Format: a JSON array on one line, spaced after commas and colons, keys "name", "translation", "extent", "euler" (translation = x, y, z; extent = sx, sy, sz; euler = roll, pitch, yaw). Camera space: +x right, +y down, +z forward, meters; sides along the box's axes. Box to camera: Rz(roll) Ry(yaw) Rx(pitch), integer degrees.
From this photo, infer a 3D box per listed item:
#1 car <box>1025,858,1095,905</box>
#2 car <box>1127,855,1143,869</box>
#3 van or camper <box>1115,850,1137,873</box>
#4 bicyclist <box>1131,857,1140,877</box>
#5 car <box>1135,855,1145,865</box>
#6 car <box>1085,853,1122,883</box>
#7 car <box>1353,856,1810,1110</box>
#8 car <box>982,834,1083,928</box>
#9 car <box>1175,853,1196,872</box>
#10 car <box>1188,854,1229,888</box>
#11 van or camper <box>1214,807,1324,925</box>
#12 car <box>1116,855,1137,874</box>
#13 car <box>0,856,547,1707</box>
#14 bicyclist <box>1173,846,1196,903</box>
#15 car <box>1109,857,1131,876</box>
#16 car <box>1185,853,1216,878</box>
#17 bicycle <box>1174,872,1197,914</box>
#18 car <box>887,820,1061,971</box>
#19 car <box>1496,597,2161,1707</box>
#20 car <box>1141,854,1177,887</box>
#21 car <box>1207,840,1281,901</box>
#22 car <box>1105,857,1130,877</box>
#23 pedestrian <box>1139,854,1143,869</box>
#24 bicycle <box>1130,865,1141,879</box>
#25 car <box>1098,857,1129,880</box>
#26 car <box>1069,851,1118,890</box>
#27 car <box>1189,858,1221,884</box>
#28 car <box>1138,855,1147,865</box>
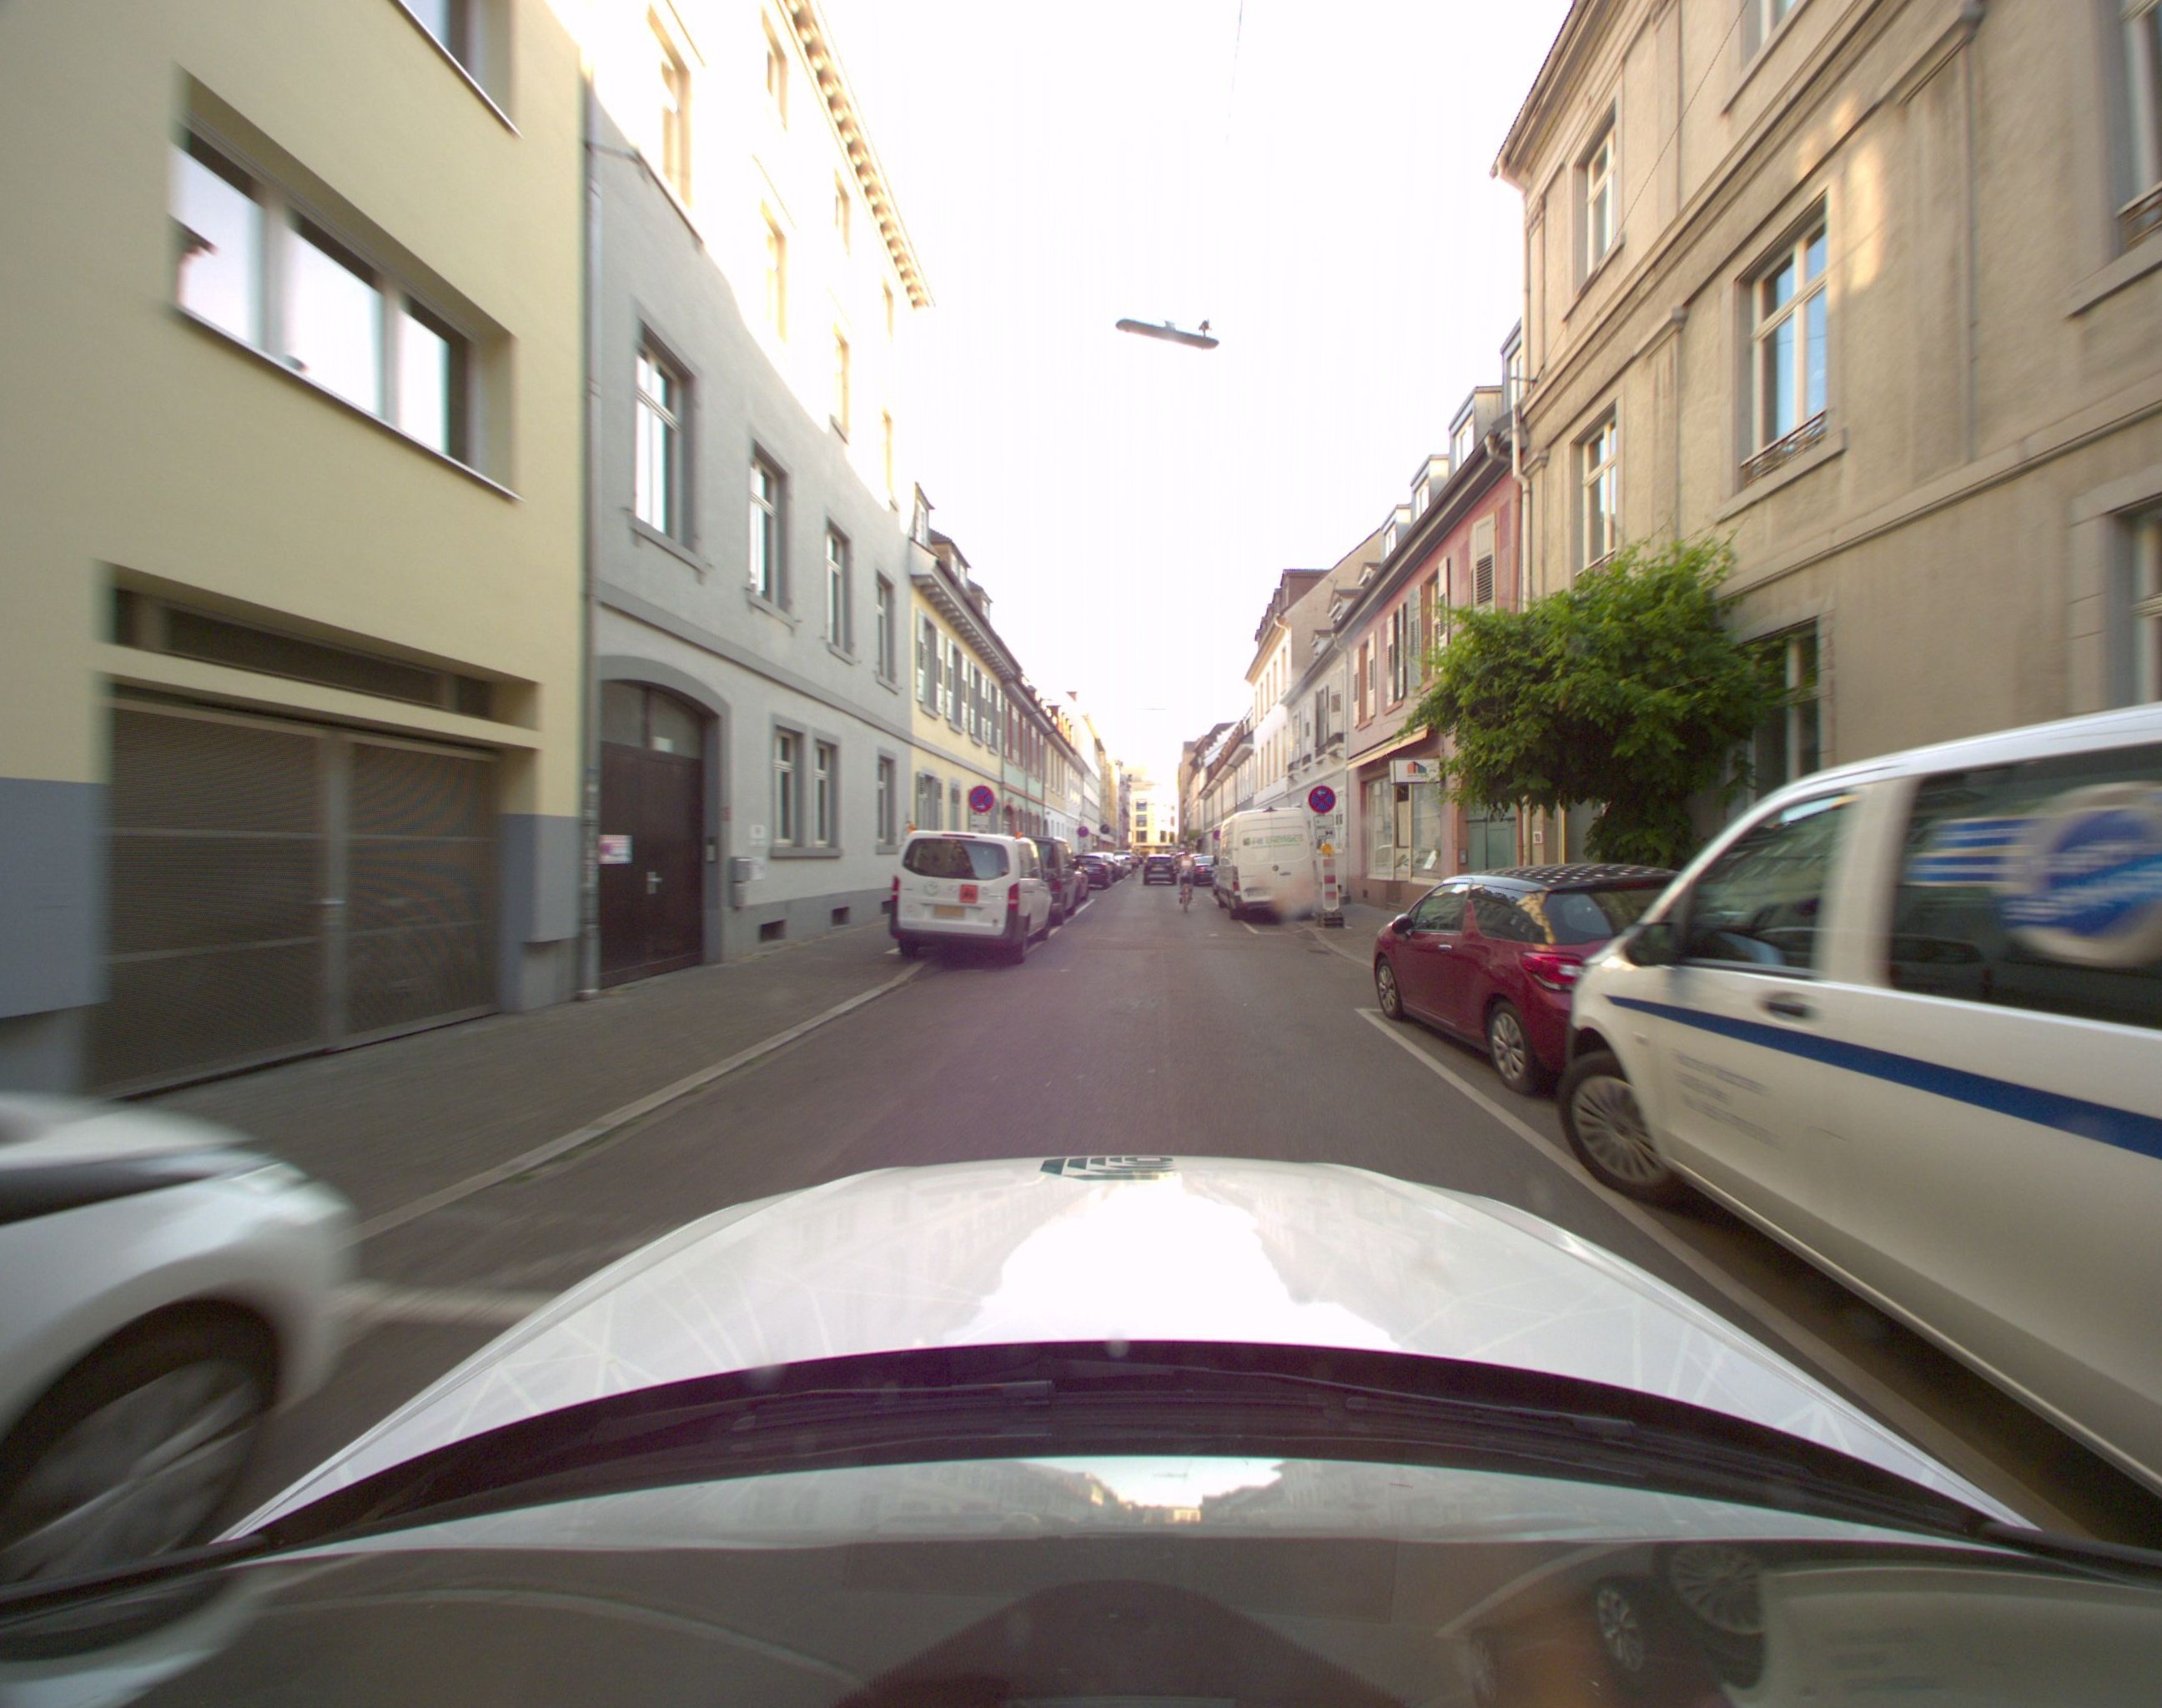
[{"name": "car", "translation": [-0.596, 0.846, 26.883], "extent": [1.756, 1.401, 4.269], "euler": [0, 0, 6]}, {"name": "car", "translation": [6.236, 0.954, 94.033], "extent": [1.645, 1.561, 3.611], "euler": [1, 0, 5]}, {"name": "van or camper", "translation": [4.307, 0.707, 77.433], "extent": [1.835, 2.013, 4.685], "euler": [1, 0, 6]}, {"name": "bicyclist", "translation": [3.729, 0.886, 55.548], "extent": [0.602, 1.369, 0.622], "euler": [0, -1, 6]}, {"name": "car", "translation": [10.145, 1.036, 139.304], "extent": [1.645, 1.561, 3.611], "euler": [1, 0, 5]}, {"name": "car", "translation": [1.387, 0.804, 48.705], "extent": [1.989, 1.707, 4.540], "euler": [1, 0, 4]}, {"name": "car", "translation": [3.623, 0.780, 6.764], "extent": [1.648, 1.505, 3.757], "euler": [0, 0, 3]}, {"name": "car", "translation": [-1.039, 0.592, 19.888], "extent": [1.854, 2.013, 4.819], "euler": [0, 0, 4]}, {"name": "car", "translation": [9.145, 0.751, 71.417], "extent": [1.645, 1.561, 3.611], "euler": [1, 0, 5]}, {"name": "car", "translation": [6.544, 0.834, 42.112], "extent": [1.810, 1.530, 5.080], "euler": [-4, -1, 7]}, {"name": "van or camper", "translation": [4.764, 0.270, 21.704], "extent": [2.040, 2.637, 7.075], "euler": [0, 0, 6]}, {"name": "car", "translation": [3.985, 0.915, 71.583], "extent": [1.645, 1.561, 3.611], "euler": [1, 0, 5]}, {"name": "car", "translation": [-2.654, 0.769, 0.794], "extent": [1.654, 1.449, 3.525], "euler": [3, 0, 5]}, {"name": "bicyclist", "translation": [2.869, 0.560, 22.576], "extent": [0.617, 1.574, 0.685], "euler": [0, -1, 6]}, {"name": "car", "translation": [3.224, 1.009, 66.641], "extent": [1.645, 1.411, 3.611], "euler": [1, 0, 5]}, {"name": "car", "translation": [8.677, 0.823, 59.331], "extent": [1.909, 1.738, 4.158], "euler": [1, 0, 4]}, {"name": "bicycle", "translation": [2.891, 1.055, 22.650], "extent": [0.610, 1.082, 1.812], "euler": [0, 0, 6]}, {"name": "car", "translation": [-1.499, 0.559, 13.440], "extent": [1.854, 2.013, 5.111], "euler": [0, 0, 4]}, {"name": "car", "translation": [2.878, 0.509, 1.846], "extent": [1.925, 1.898, 5.290], "euler": [0, 0, 9]}, {"name": "car", "translation": [4.179, 0.852, 43.638], "extent": [1.811, 1.618, 4.005], "euler": [1, 0, 5]}, {"name": "car", "translation": [5.728, 0.566, 29.285], "extent": [1.932, 1.894, 5.324], "euler": [-4, -1, 5]}, {"name": "car", "translation": [2.800, 0.990, 61.561], "extent": [1.645, 1.411, 3.908], "euler": [1, 0, 5]}, {"name": "pedestrian", "translation": [7.207, 0.917, 97.831], "extent": [0.551, 1.752, 0.568], "euler": [0, -1, 2]}, {"name": "bicycle", "translation": [3.713, 1.240, 55.501], "extent": [0.610, 0.932, 1.890], "euler": [0, 0, 7]}, {"name": "car", "translation": [2.233, 0.969, 54.974], "extent": [1.910, 1.434, 4.298], "euler": [1, 0, 4]}, {"name": "car", "translation": [0.624, 0.712, 37.541], "extent": [1.793, 1.676, 4.498], "euler": [0, 0, 7]}, {"name": "car", "translation": [7.464, 1.005, 49.217], "extent": [1.668, 1.486, 4.006], "euler": [1, 0, 5]}, {"name": "car", "translation": [11.033, 1.067, 146.034], "extent": [1.645, 1.561, 3.611], "euler": [1, 0, 5]}]
